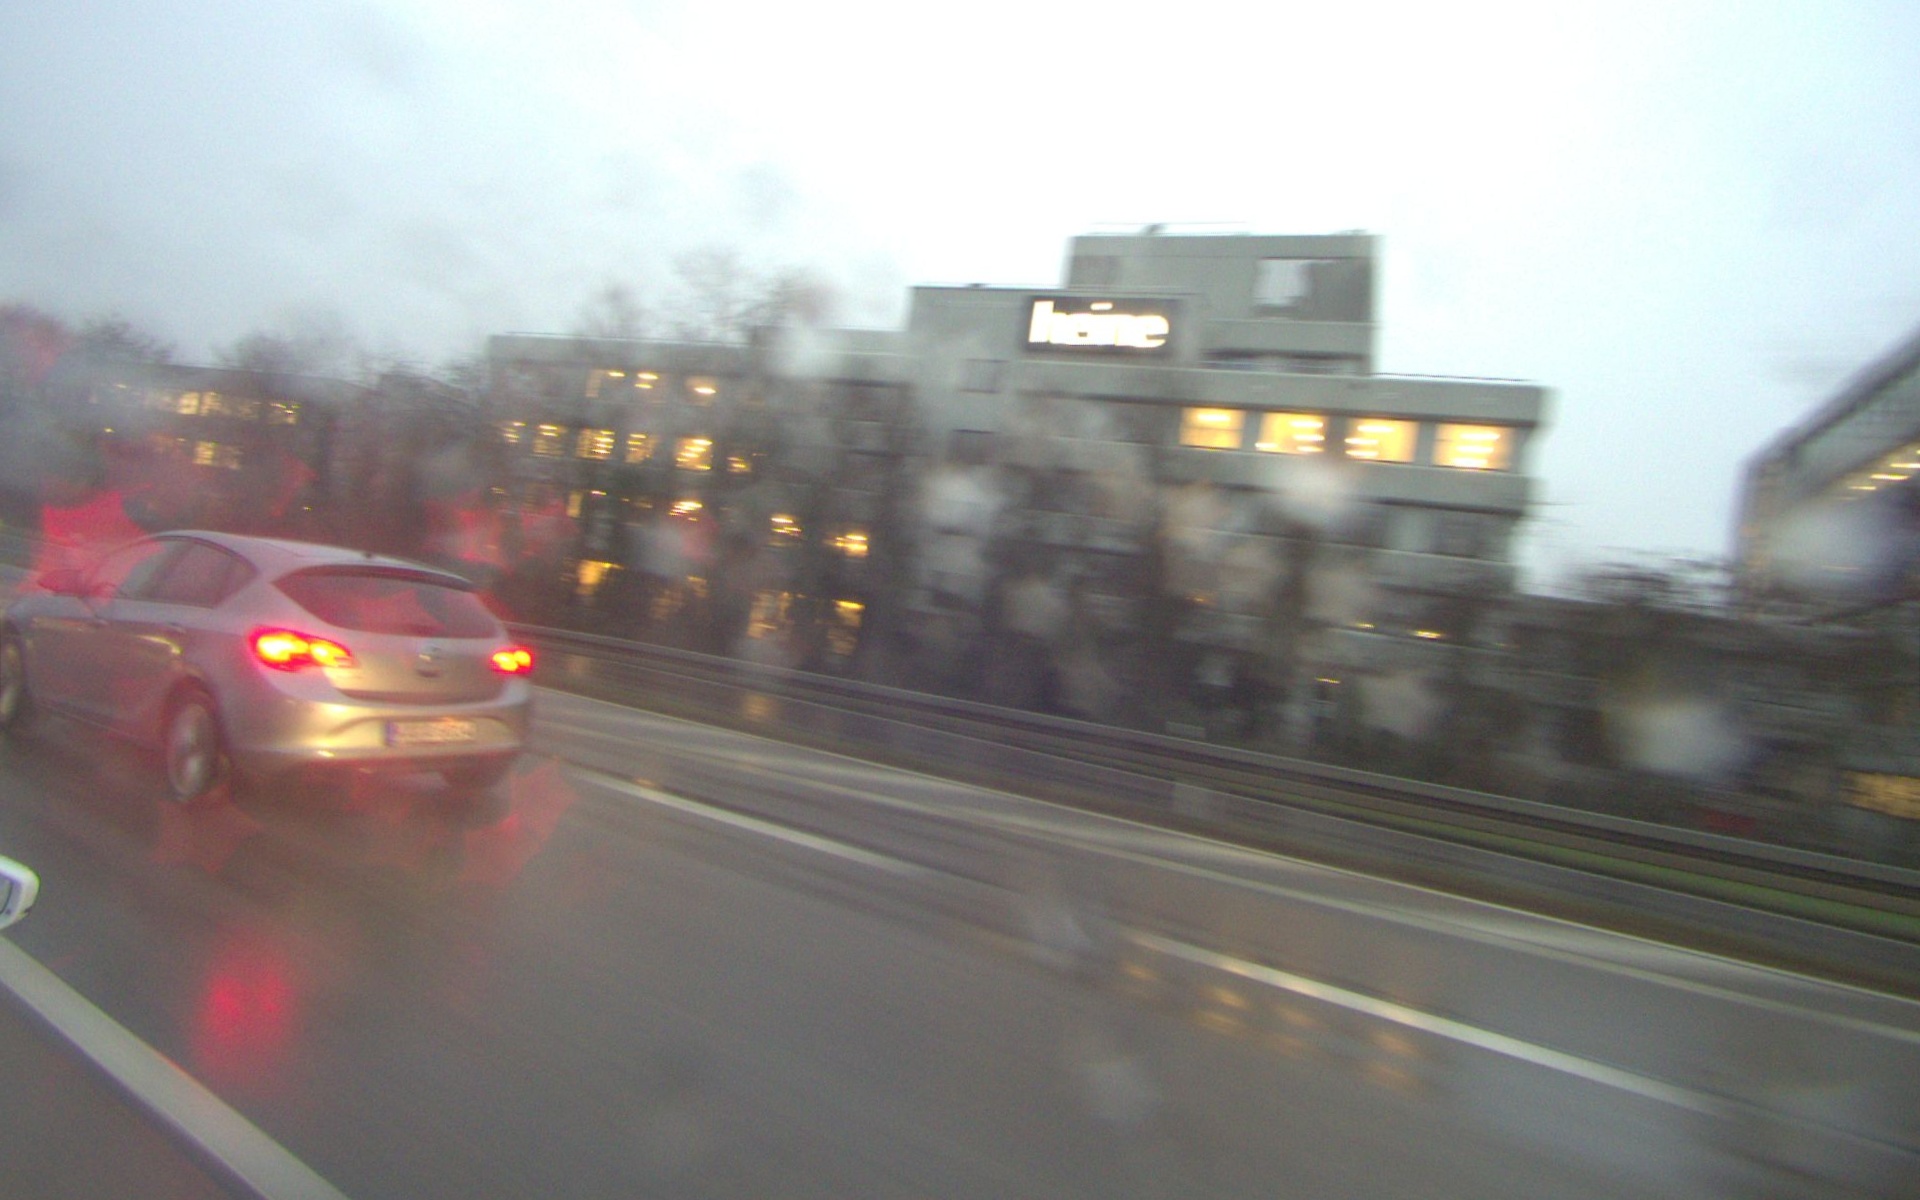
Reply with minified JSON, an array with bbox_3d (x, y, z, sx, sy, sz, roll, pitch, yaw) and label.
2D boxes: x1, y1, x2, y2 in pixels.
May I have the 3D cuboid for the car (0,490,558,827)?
[{"bbox_3d":[-4.972,0.238,6.796,4.189,1.519,1.854,7,-2,30],"label":"car"}]
